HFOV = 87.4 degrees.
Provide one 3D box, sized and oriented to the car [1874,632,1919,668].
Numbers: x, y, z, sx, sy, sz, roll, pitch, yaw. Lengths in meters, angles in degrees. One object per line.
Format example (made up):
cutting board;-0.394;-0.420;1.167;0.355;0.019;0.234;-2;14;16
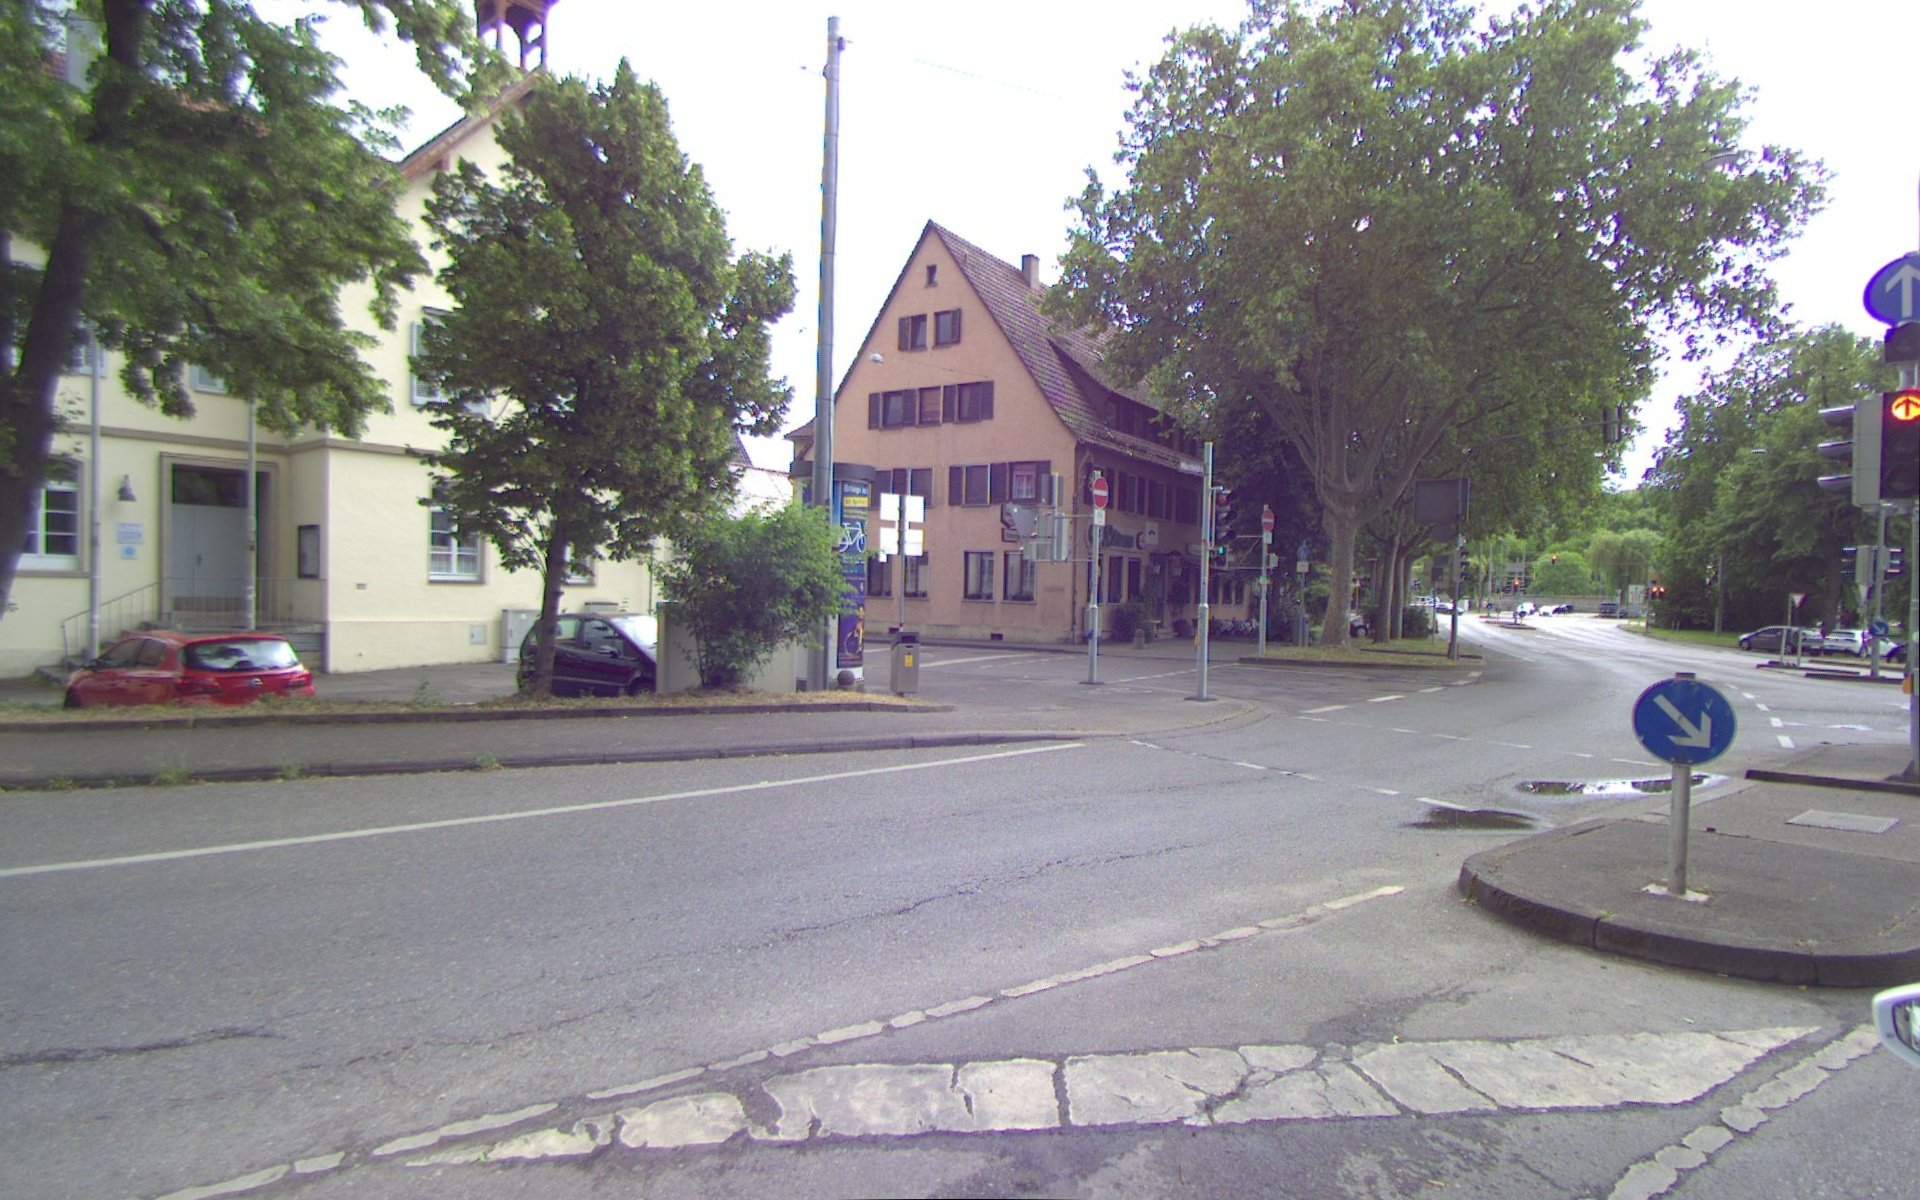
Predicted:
car;39.568;2.072;40.947;1.442;1.412;3.596;2;0;3

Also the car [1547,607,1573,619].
car;108.230;2.291;181.092;3.928;2.040;1.996;2;0;30

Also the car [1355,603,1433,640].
car;21.408;1.042;49.586;3.387;1.663;1.570;2;0;28

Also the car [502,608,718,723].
car;-5.765;1.007;16.597;3.035;1.654;1.607;2;0;22

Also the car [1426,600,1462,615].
car;64.866;1.022;134.706;3.938;1.806;1.992;2;0;39

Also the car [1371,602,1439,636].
car;25.469;1.080;57.470;3.387;1.765;1.570;2;0;28

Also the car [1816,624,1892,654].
car;47.301;2.074;53.164;3.342;1.484;1.543;2;0;-19

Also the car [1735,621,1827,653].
car;43.862;1.961;53.763;1.559;1.484;3.543;2;0;-17

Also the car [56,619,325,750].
car;-10.176;1.014;13.250;3.492;1.397;1.605;2;0;30

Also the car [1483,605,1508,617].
car;100.716;2.102;188.938;3.928;2.040;1.996;2;0;30
